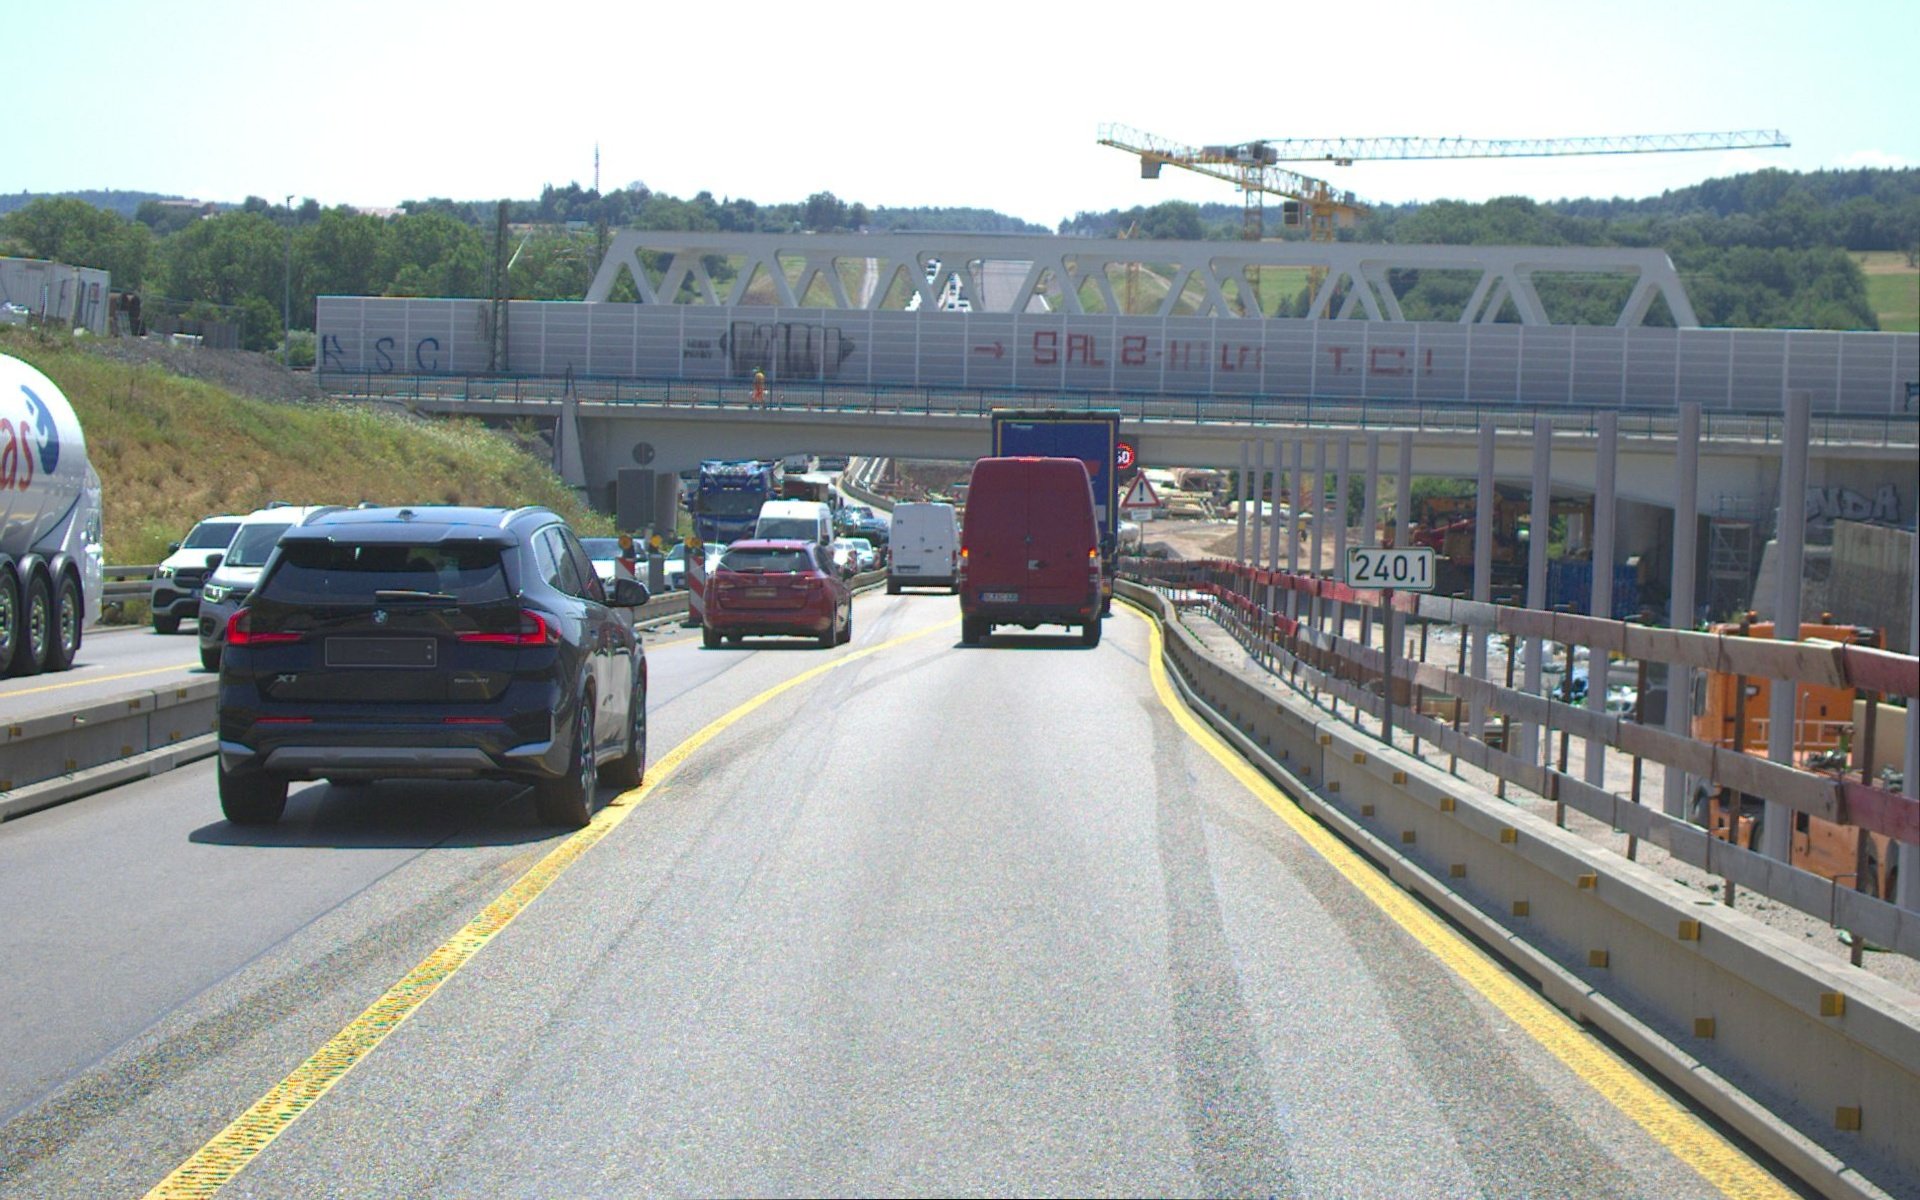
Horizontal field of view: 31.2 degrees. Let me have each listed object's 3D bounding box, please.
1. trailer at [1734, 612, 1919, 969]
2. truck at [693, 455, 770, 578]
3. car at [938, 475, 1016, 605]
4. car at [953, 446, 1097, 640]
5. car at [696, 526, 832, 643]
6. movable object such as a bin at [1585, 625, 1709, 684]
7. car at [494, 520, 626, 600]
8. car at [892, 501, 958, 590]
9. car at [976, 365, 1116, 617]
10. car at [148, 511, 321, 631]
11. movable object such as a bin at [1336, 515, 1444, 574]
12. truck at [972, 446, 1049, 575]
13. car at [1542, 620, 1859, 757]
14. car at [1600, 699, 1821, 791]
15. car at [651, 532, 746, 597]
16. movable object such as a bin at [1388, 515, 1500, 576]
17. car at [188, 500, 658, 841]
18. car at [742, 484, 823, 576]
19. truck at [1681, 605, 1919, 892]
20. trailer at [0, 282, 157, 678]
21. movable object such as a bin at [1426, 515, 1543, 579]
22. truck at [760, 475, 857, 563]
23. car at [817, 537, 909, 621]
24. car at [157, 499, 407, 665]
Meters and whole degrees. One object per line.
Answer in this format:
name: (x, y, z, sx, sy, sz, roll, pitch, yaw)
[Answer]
trailer: (12.717, 2.310, 44.155, 2.758, 3.873, 13.049, 1, 1, 1)
truck: (-7.600, -2.798, 114.769, 2.357, 4.001, 4.001, 1, 1, -2)
car: (0.519, -1.997, 113.355, 2.450, 4.146, 6.861, 0, 1, -1)
car: (0.972, -0.848, 49.882, 1.988, 2.681, 4.623, 0, 2, 2)
car: (-2.667, -0.252, 47.213, 1.775, 1.512, 4.207, 0, 2, -3)
movable object such as a bin: (19.703, 1.550, 98.669, 3.103, 1.558, 1.550, 2, 2, 36)
car: (-7.809, -0.822, 67.521, 1.961, 1.459, 4.941, 1, 2, 0)
car: (-0.970, -1.543, 95.709, 1.776, 2.432, 4.206, 0, 2, -1)
car: (1.741, -2.305, 73.778, 2.621, 5.015, 10.398, 0, 2, -1)
car: (-11.073, -0.480, 52.715, 1.790, 1.756, 4.538, 0, 1, -1)
movable object such as a bin: (21.182, -2.752, 169.605, 5.147, 2.798, 2.142, 1, 1, 6)
truck: (2.321, -3.957, 152.133, 2.835, 5.380, 12.911, 1, 1, 3)
car: (16.021, 1.900, 74.531, 6.086, 2.576, 2.531, 2, 3, -9)
car: (17.730, 3.409, 81.369, 4.728, 1.767, 2.000, 3, 3, 1)
car: (-6.204, -0.877, 82.079, 1.800, 1.442, 4.637, 1, 1, 1)
movable object such as a bin: (23.139, -2.634, 164.399, 5.147, 2.798, 2.142, 1, 1, 6)
car: (-2.744, 0.273, 18.552, 1.879, 1.612, 4.499, 0, 2, -1)
car: (-5.177, -2.081, 101.109, 1.993, 2.598, 7.011, 1, 1, 0)
truck: (12.832, 2.118, 51.647, 2.758, 3.873, 5.882, 1, 1, 1)
trailer: (-10.496, -1.179, 33.554, 2.590, 3.788, 11.919, 1, 1, -1)
movable object such as a bin: (24.075, -2.436, 157.849, 5.147, 2.798, 2.142, 1, 1, 6)
truck: (-6.921, -3.745, 159.057, 2.835, 3.839, 12.910, 1, 1, 5)
car: (-1.986, -0.458, 71.068, 1.839, 1.648, 4.165, 0, 2, -1)
car: (-7.466, -0.245, 38.281, 1.880, 1.739, 4.483, 0, 1, 0)
